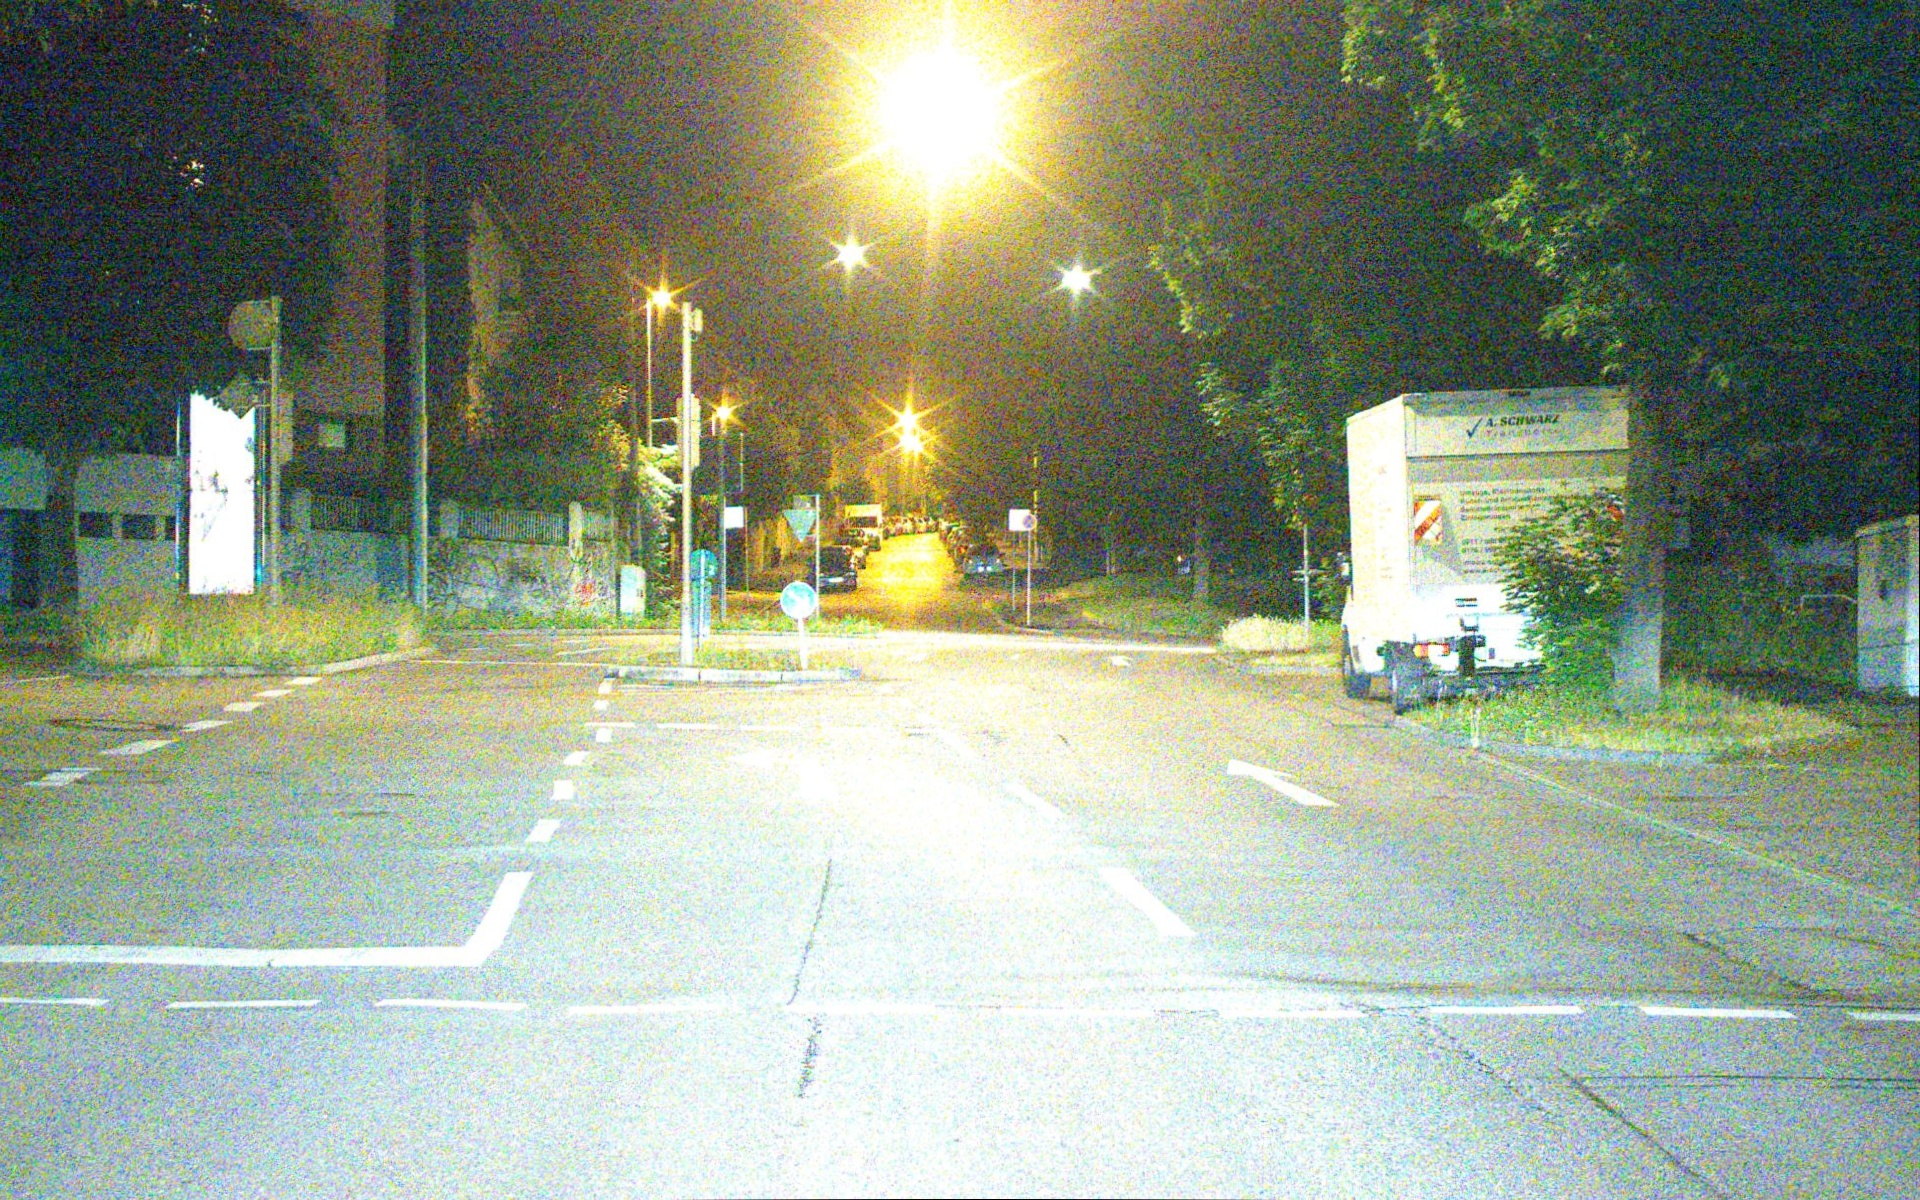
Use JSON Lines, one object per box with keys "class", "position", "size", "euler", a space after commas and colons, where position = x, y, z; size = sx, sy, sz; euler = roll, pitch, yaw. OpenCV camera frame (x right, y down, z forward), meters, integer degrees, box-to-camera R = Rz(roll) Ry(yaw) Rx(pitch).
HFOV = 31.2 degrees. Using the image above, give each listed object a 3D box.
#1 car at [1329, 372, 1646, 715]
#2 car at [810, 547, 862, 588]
{"class": "car", "position": [5.120, -0.549, 34.262], "size": [2.297, 3.082, 5.840], "euler": [-1, 1, 1]}
{"class": "car", "position": [-4.841, -1.290, 134.413], "size": [1.908, 1.552, 3.904], "euler": [1, 1, -1]}
